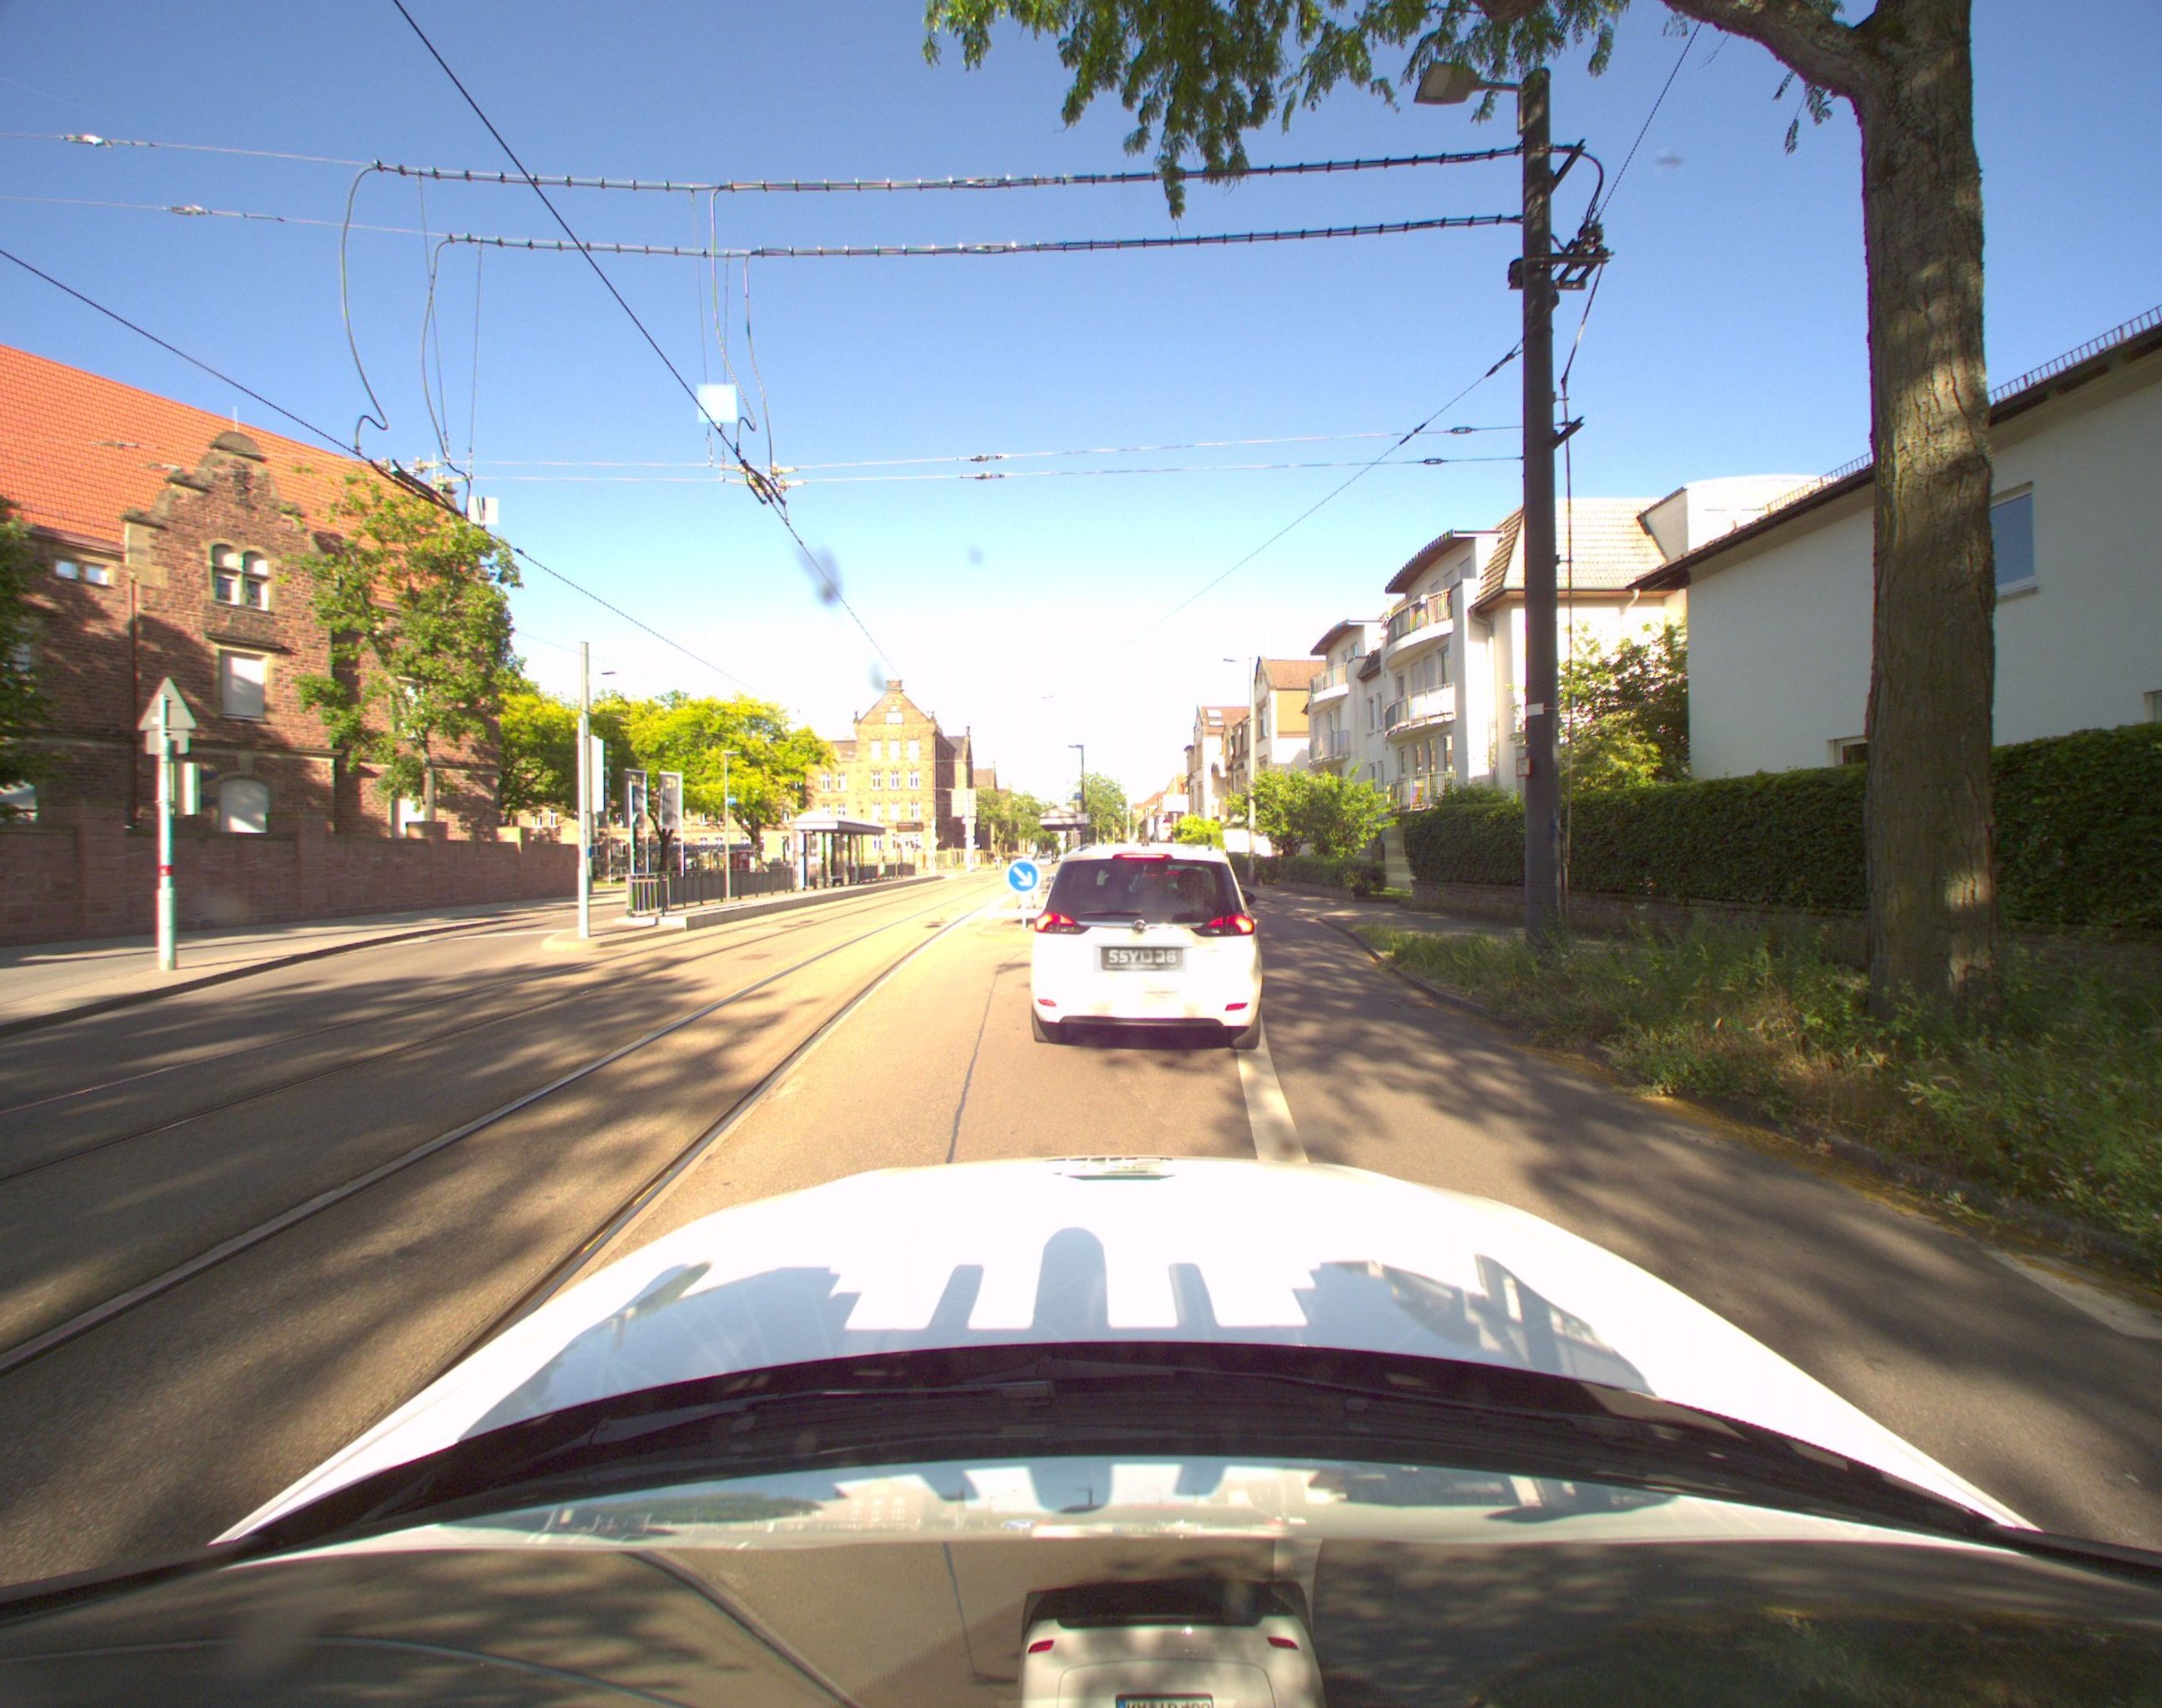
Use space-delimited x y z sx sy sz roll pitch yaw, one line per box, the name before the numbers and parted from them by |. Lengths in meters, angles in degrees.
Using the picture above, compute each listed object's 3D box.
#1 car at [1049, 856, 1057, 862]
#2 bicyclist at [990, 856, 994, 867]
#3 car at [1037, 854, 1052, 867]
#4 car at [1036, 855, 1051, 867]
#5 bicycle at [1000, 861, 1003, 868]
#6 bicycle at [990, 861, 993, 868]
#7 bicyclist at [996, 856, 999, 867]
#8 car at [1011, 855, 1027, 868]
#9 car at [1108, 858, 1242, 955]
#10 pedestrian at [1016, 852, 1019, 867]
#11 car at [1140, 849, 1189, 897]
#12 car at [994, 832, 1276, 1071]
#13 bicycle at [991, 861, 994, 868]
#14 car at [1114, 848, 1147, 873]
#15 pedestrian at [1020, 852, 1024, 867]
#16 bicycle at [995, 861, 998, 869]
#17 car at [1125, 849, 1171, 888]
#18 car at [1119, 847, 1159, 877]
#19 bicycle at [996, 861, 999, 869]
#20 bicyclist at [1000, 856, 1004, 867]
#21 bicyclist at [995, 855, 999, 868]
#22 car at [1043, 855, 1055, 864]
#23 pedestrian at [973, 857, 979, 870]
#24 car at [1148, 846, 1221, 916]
car | -7.128 1.299 210.209 1.989 1.629 3.984 -1 0 -3
bicyclist | -12.445 1.045 113.765 0.443 1.553 0.495 -1 0 -2
car | -4.811 0.895 107.626 1.989 1.629 3.996 -1 0 -3
car | -5.292 0.956 114.748 1.989 1.629 3.996 -1 0 -3
bicycle | -10.657 1.466 109.612 0.343 0.950 0.996 0 -1 -1
bicycle | -12.673 1.529 115.640 0.343 0.950 0.996 0 -1 -1
bicyclist | -10.975 0.980 107.029 0.443 1.553 0.495 -1 0 -2
car | -8.187 0.927 107.484 1.989 1.629 3.996 -1 0 -3
car | 1.537 0.791 14.070 1.944 1.397 4.005 -1 0 4
pedestrian | -8.764 0.778 112.398 0.443 2.013 0.495 -1 0 -2
car | 2.949 0.635 29.324 1.630 1.601 3.859 -1 0 4
car | 0.649 0.683 7.708 1.982 1.644 4.003 0 0 8
bicycle | -12.416 1.513 113.803 0.343 0.950 0.996 0 -1 -1
car | 3.107 0.386 51.847 1.986 1.503 4.002 -1 0 2
pedestrian | -8.166 0.775 112.648 0.443 2.013 0.495 -1 0 -2
bicycle | -10.710 1.417 103.527 0.343 0.950 1.160 0 -1 -1
car | 2.935 0.611 36.254 1.824 1.579 4.012 -1 0 2
car | 3.132 0.415 44.380 1.986 1.503 4.002 -1 0 2
bicycle | -10.999 1.448 107.070 0.343 0.950 0.996 0 -1 -1
bicyclist | -10.658 0.999 109.607 0.443 1.553 0.495 -1 0 -2
bicyclist | -10.702 0.951 103.738 0.443 1.553 0.742 -1 0 -2
car | -6.120 0.966 155.280 1.987 1.629 4.000 -1 0 0
pedestrian | -14.449 1.323 112.382 0.732 1.714 0.706 0 -1 -3
car | 2.561 0.638 20.899 1.630 1.601 3.859 -1 0 4
